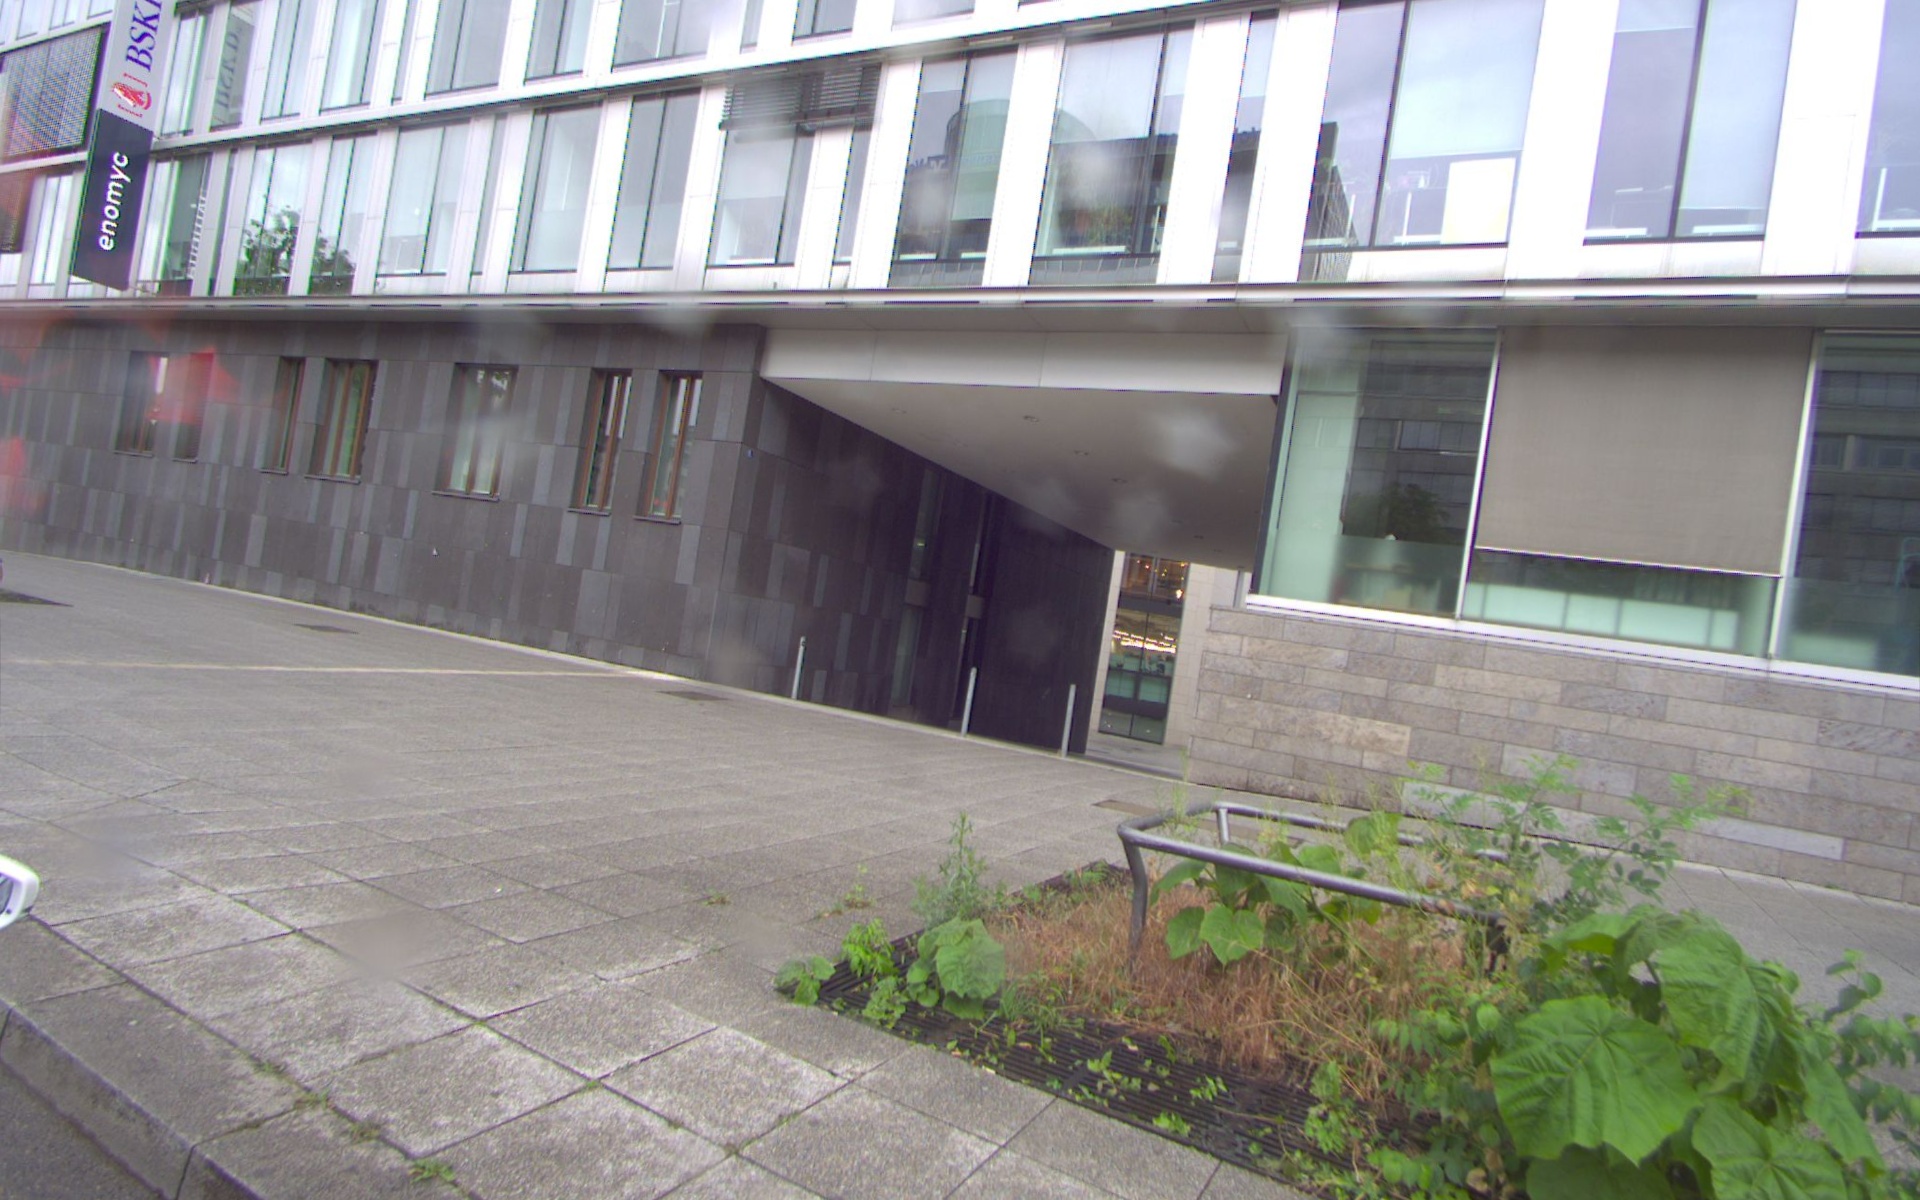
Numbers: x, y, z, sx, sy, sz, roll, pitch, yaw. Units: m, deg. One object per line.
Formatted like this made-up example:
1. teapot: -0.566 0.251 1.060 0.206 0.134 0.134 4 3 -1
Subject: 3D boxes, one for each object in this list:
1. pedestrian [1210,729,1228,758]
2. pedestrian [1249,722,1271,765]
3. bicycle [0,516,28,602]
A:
1. pedestrian: 11.911 6.610 46.261 0.556 1.256 0.463 7 -3 24
2. pedestrian: 13.434 6.413 45.064 0.689 1.795 0.593 7 -3 24
3. bicycle: -12.992 -0.622 12.594 0.676 1.082 1.736 7 -1 22
